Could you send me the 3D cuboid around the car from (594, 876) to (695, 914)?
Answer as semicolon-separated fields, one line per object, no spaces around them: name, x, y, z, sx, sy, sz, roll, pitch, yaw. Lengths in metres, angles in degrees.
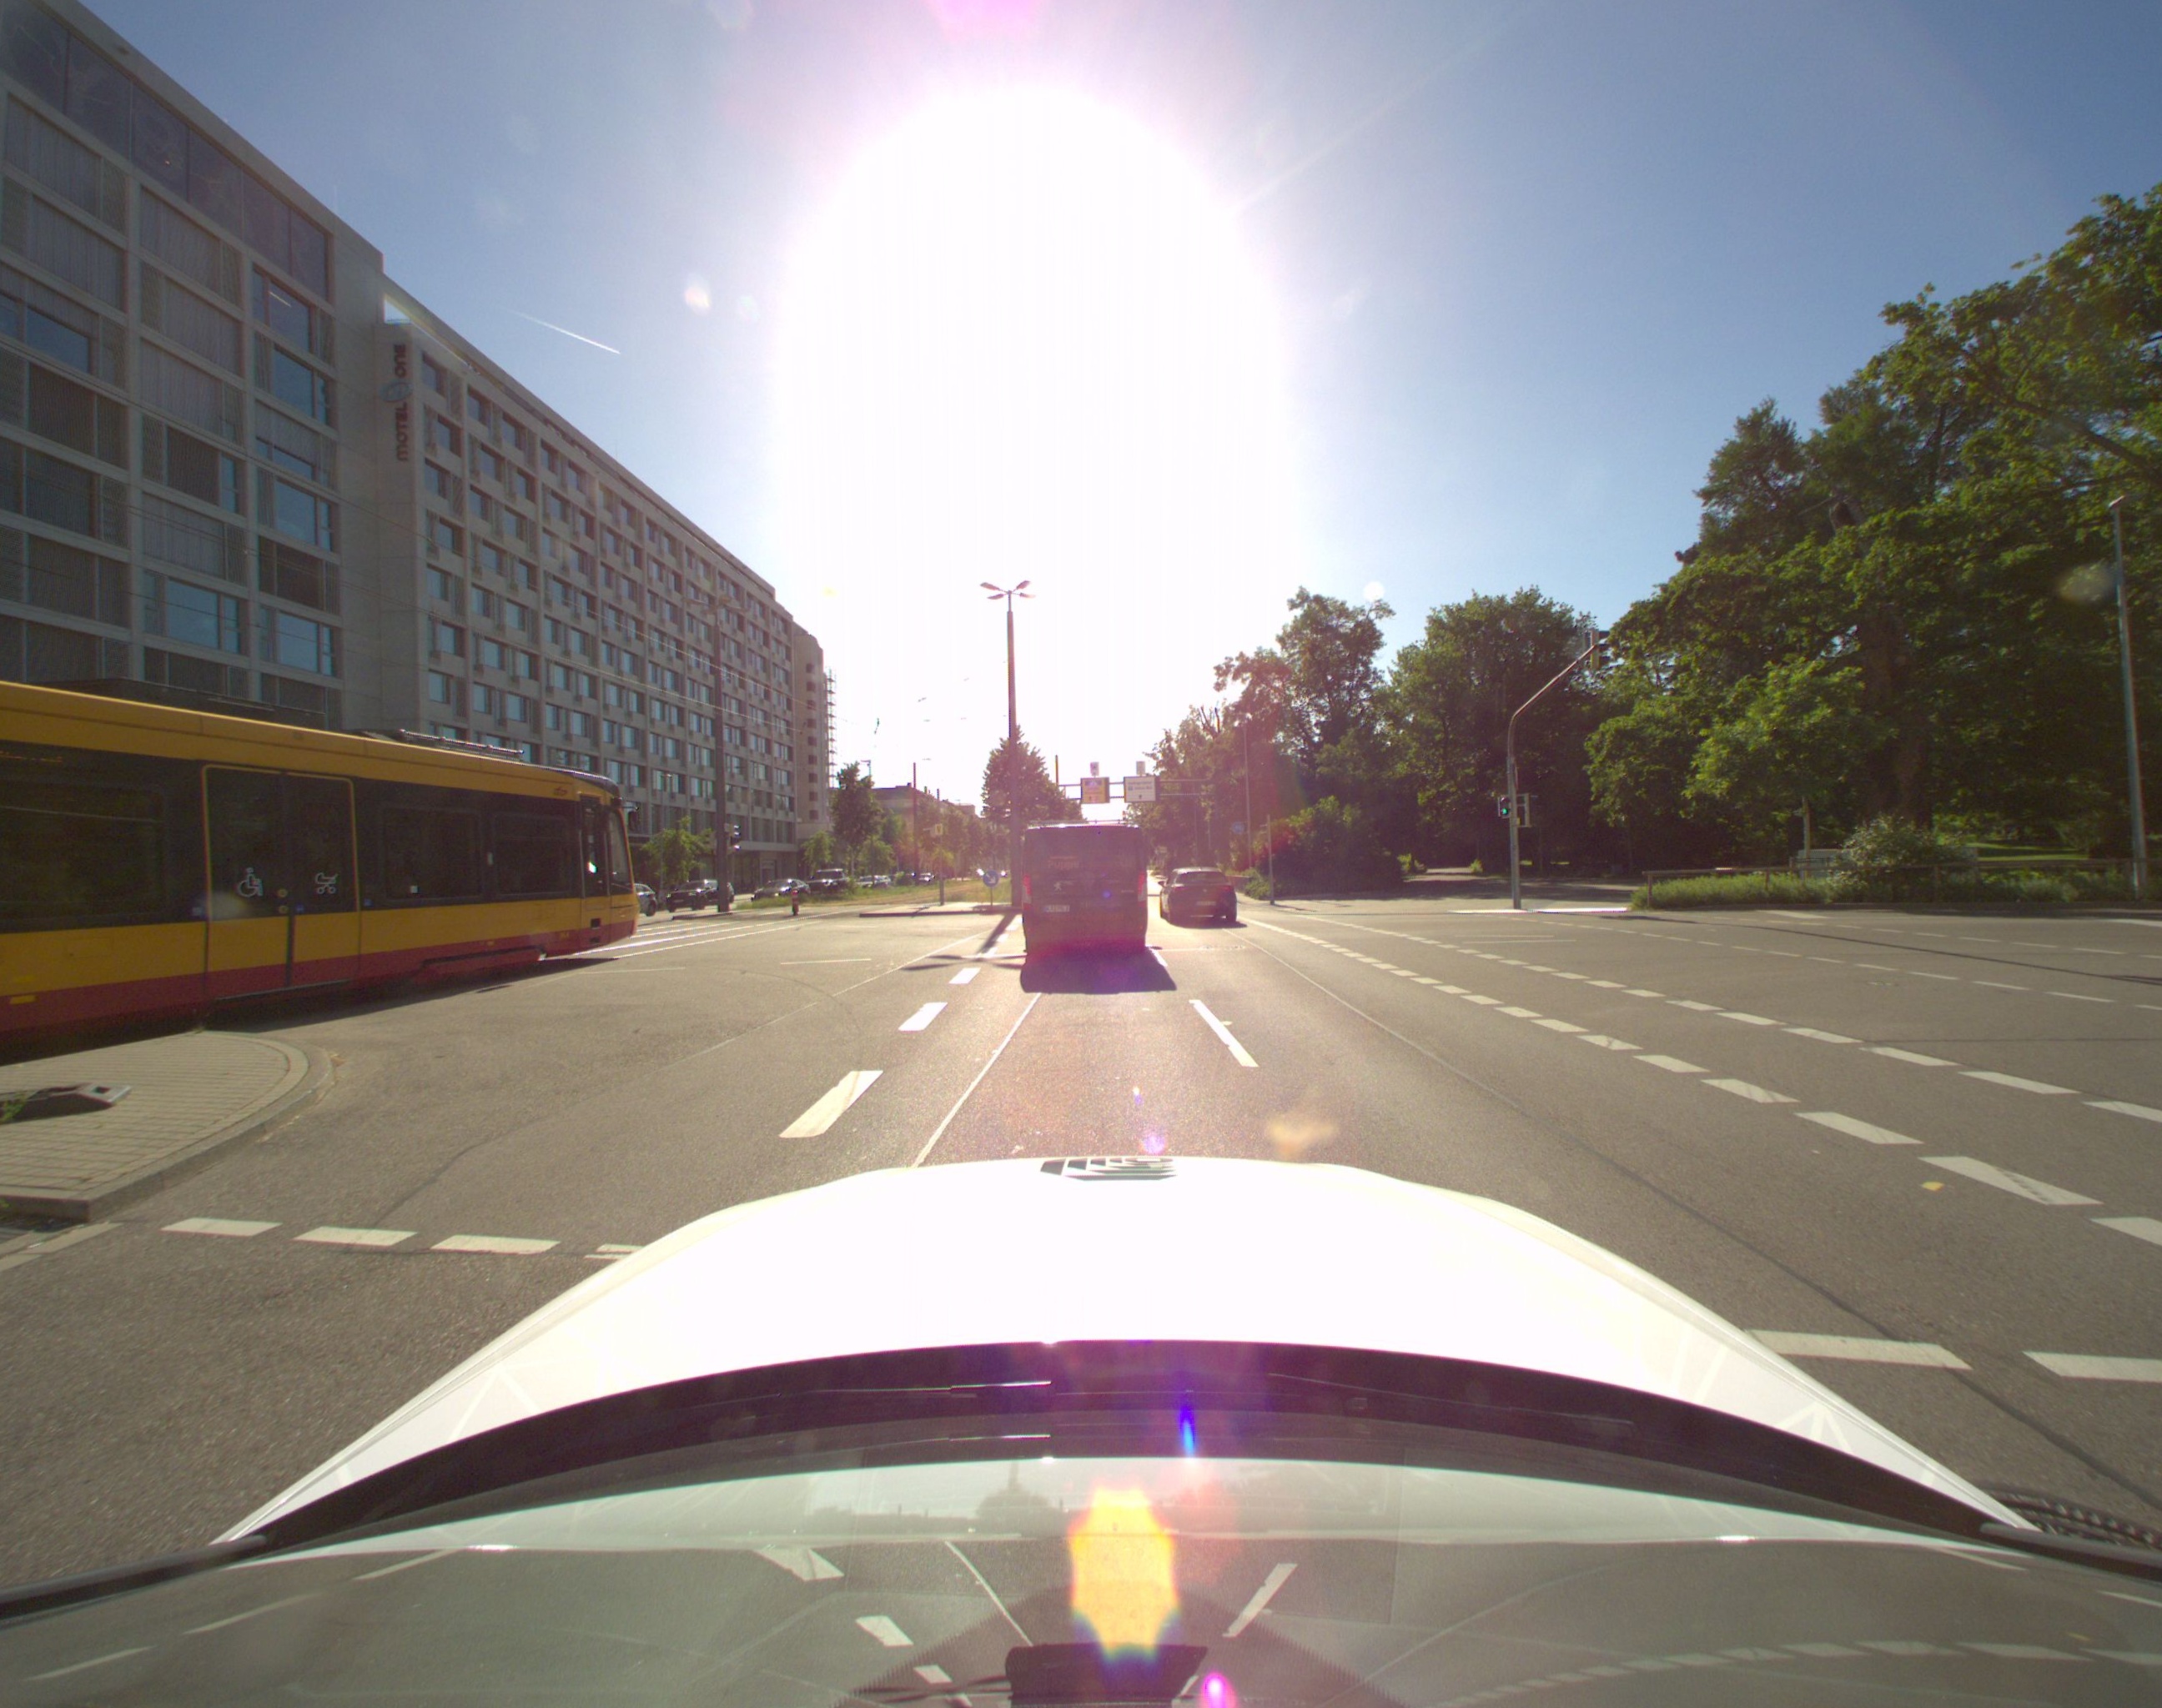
car;-19.637;1.802;36.815;1.982;1.552;4.009;-1;-1;9

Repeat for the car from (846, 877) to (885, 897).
car;-18.244;2.770;69.192;1.985;1.552;4.004;-1;-1;4

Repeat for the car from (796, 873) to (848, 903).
car;-16.228;2.096;51.202;1.988;1.819;4.282;-1;-1;-2

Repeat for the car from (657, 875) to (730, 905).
car;-21.514;1.953;45.390;1.985;1.552;4.004;-1;-1;4

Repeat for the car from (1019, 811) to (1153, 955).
car;0.139;0.501;14.828;2.074;2.249;4.001;-1;-1;2

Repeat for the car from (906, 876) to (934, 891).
car;-17.679;3.213;89.717;1.985;1.552;4.004;-1;-1;4

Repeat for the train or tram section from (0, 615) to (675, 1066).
train or tram section;-9.481;-0.024;10.296;1.984;3.669;11.697;-1;-1;5

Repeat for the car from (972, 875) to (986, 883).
car;-18.881;4.647;151.136;1.985;1.552;4.003;-1;-1;3

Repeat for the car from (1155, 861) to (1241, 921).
car;3.087;0.965;22.170;1.757;1.462;3.999;-1;-1;0

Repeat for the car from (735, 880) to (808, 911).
car;-16.735;2.198;44.232;1.982;1.552;4.009;-1;-1;9
